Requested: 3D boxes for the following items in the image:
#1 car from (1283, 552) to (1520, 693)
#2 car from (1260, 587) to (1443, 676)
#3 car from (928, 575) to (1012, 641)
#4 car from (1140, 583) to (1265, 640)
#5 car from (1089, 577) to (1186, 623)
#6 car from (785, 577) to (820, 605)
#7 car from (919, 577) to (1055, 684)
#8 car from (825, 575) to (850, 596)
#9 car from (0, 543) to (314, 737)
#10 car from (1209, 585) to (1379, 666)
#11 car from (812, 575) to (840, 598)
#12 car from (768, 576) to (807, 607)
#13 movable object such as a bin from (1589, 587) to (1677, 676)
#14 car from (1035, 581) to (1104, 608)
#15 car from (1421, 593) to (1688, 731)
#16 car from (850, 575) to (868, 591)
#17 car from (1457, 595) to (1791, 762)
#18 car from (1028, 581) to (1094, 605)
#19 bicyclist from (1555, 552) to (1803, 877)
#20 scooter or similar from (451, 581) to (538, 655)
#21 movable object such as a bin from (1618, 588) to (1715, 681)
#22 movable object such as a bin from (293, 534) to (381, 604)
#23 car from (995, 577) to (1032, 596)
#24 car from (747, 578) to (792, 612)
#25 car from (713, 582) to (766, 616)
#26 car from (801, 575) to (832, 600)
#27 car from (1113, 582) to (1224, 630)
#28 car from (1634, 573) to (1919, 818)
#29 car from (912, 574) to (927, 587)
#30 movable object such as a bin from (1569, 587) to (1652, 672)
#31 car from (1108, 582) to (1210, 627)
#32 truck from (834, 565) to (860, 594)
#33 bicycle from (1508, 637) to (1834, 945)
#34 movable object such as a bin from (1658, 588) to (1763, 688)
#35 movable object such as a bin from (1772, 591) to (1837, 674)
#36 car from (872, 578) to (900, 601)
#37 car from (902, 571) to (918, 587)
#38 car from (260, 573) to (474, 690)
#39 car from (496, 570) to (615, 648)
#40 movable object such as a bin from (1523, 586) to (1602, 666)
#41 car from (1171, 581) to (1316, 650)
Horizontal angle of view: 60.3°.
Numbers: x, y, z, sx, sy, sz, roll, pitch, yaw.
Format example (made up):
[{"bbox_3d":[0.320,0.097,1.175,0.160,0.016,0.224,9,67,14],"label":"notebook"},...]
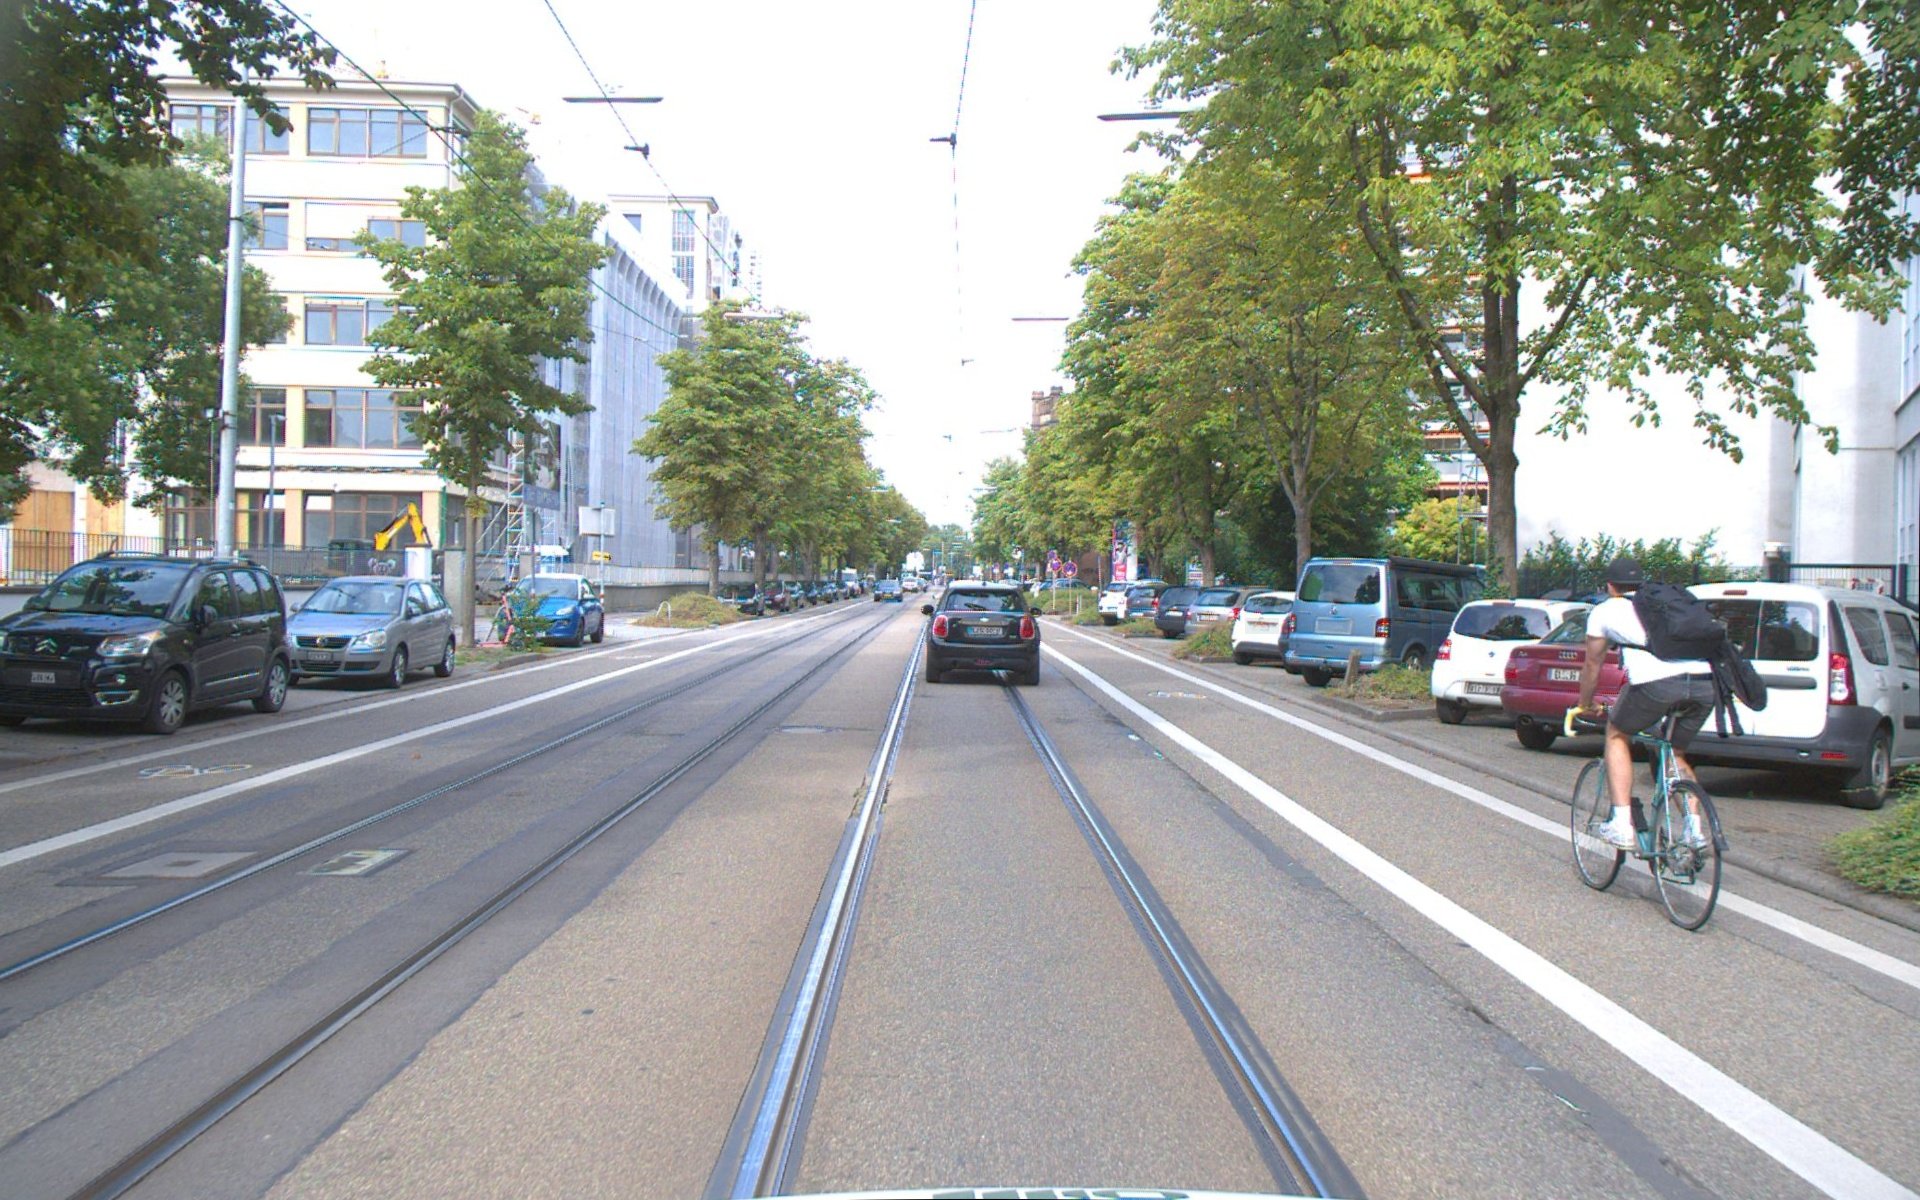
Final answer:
[{"bbox_3d":[7.099,0.335,26.334,1.800,2.050,4.247,2,0,44],"label":"car"},{"bbox_3d":[7.204,0.566,30.229,1.647,1.485,3.806,2,0,42],"label":"car"},{"bbox_3d":[0.204,0.156,41.804,1.758,1.495,3.997,3,1,-4],"label":"car"},{"bbox_3d":[6.832,0.329,46.448,1.613,1.484,3.714,2,0,44],"label":"car"},{"bbox_3d":[6.380,0.013,59.375,3.414,1.600,1.538,1,1,-40],"label":"car"},{"bbox_3d":[-9.428,-0.538,99.178,1.766,1.611,4.030,0,1,-1],"label":"car"},{"bbox_3d":[0.338,0.398,25.256,1.758,1.447,3.998,2,1,-3],"label":"car"},{"bbox_3d":[-9.620,-1.125,129.775,1.766,1.611,4.030,0,1,-1],"label":"car"},{"bbox_3d":[-8.151,0.324,16.674,1.720,1.676,4.051,2,1,-1],"label":"car"},{"bbox_3d":[6.699,0.506,32.934,1.611,1.485,3.806,2,0,42],"label":"car"},{"bbox_3d":[-9.580,-0.951,118.370,1.766,1.611,4.030,0,1,-1],"label":"car"},{"bbox_3d":[-9.206,-0.473,88.448,1.766,1.611,4.030,0,1,-1],"label":"car"},{"bbox_3d":[12.136,0.555,29.861,1.047,1.534,1.214,2,1,0],"label":"movable object such as a bin"},{"bbox_3d":[6.479,-0.334,98.158,3.908,1.449,1.883,1,1,-4],"label":"car"},{"bbox_3d":[7.208,0.698,19.881,1.661,1.457,3.691,2,0,44],"label":"car"},{"bbox_3d":[-10.582,-1.774,174.089,1.766,1.611,4.030,0,1,-1],"label":"car"},{"bbox_3d":[6.821,0.733,16.807,3.944,1.457,1.663,1,0,-44],"label":"car"},{"bbox_3d":[6.398,-0.443,105.058,3.908,1.449,1.883,1,1,-4],"label":"car"},{"bbox_3d":[3.549,0.524,8.260,0.644,1.489,1.178,2,1,-2],"label":"bicyclist"},{"bbox_3d":[-8.720,0.327,31.010,1.414,1.367,0.700,0,1,1],"label":"scooter or similar"},{"bbox_3d":[12.184,0.576,28.565,1.047,1.534,1.323,2,1,0],"label":"movable object such as a bin"},{"bbox_3d":[-19.601,-0.968,52.090,1.945,2.103,1.961,1,1,1],"label":"movable object such as a bin"},{"bbox_3d":[5.903,-1.525,182.268,3.908,1.944,1.999,2,1,-4],"label":"car"},{"bbox_3d":[-9.144,-0.258,79.579,1.766,1.611,4.030,0,1,-1],"label":"car"},{"bbox_3d":[-9.182,-0.070,69.186,1.766,1.398,4.030,0,1,-1],"label":"car"},{"bbox_3d":[-9.426,-0.812,109.116,1.766,1.611,4.030,0,1,-1],"label":"car"},{"bbox_3d":[6.721,0.196,53.224,3.502,1.468,1.601,1,1,-40],"label":"car"},{"bbox_3d":[7.222,0.691,13.713,1.660,1.697,4.081,2,0,43],"label":"car"},{"bbox_3d":[-5.067,-2.431,206.652,1.766,1.650,4.483,0,1,-1],"label":"car"},{"bbox_3d":[12.279,0.538,31.269,1.047,1.534,1.214,2,1,0],"label":"movable object such as a bin"},{"bbox_3d":[6.778,0.149,56.296,3.414,1.468,1.538,1,1,-40],"label":"car"},{"bbox_3d":[-9.762,-1.756,142.874,2.029,2.513,4.898,0,1,-1],"label":"truck"},{"bbox_3d":[3.518,0.877,8.423,0.644,1.270,2.124,2,1,-2],"label":"bicycle"},{"bbox_3d":[12.198,0.602,26.922,1.047,1.534,1.323,2,1,0],"label":"movable object such as a bin"},{"bbox_3d":[16.862,0.635,33.051,1.011,1.589,1.078,2,1,23],"label":"movable object such as a bin"},{"bbox_3d":[-4.947,-0.749,111.296,1.797,1.473,4.552,1,1,-1],"label":"car"},{"bbox_3d":[-5.682,-2.372,187.695,1.766,1.855,4.483,0,1,-1],"label":"car"},{"bbox_3d":[-8.243,0.380,23.329,1.659,1.452,3.867,2,1,-1],"label":"car"},{"bbox_3d":[-8.578,0.153,35.346,1.659,1.513,3.676,2,1,-2],"label":"car"},{"bbox_3d":[12.052,0.501,33.132,1.047,1.534,1.334,2,1,0],"label":"movable object such as a bin"},{"bbox_3d":[6.830,0.374,39.656,1.613,1.549,3.714,2,0,44],"label":"car"}]
